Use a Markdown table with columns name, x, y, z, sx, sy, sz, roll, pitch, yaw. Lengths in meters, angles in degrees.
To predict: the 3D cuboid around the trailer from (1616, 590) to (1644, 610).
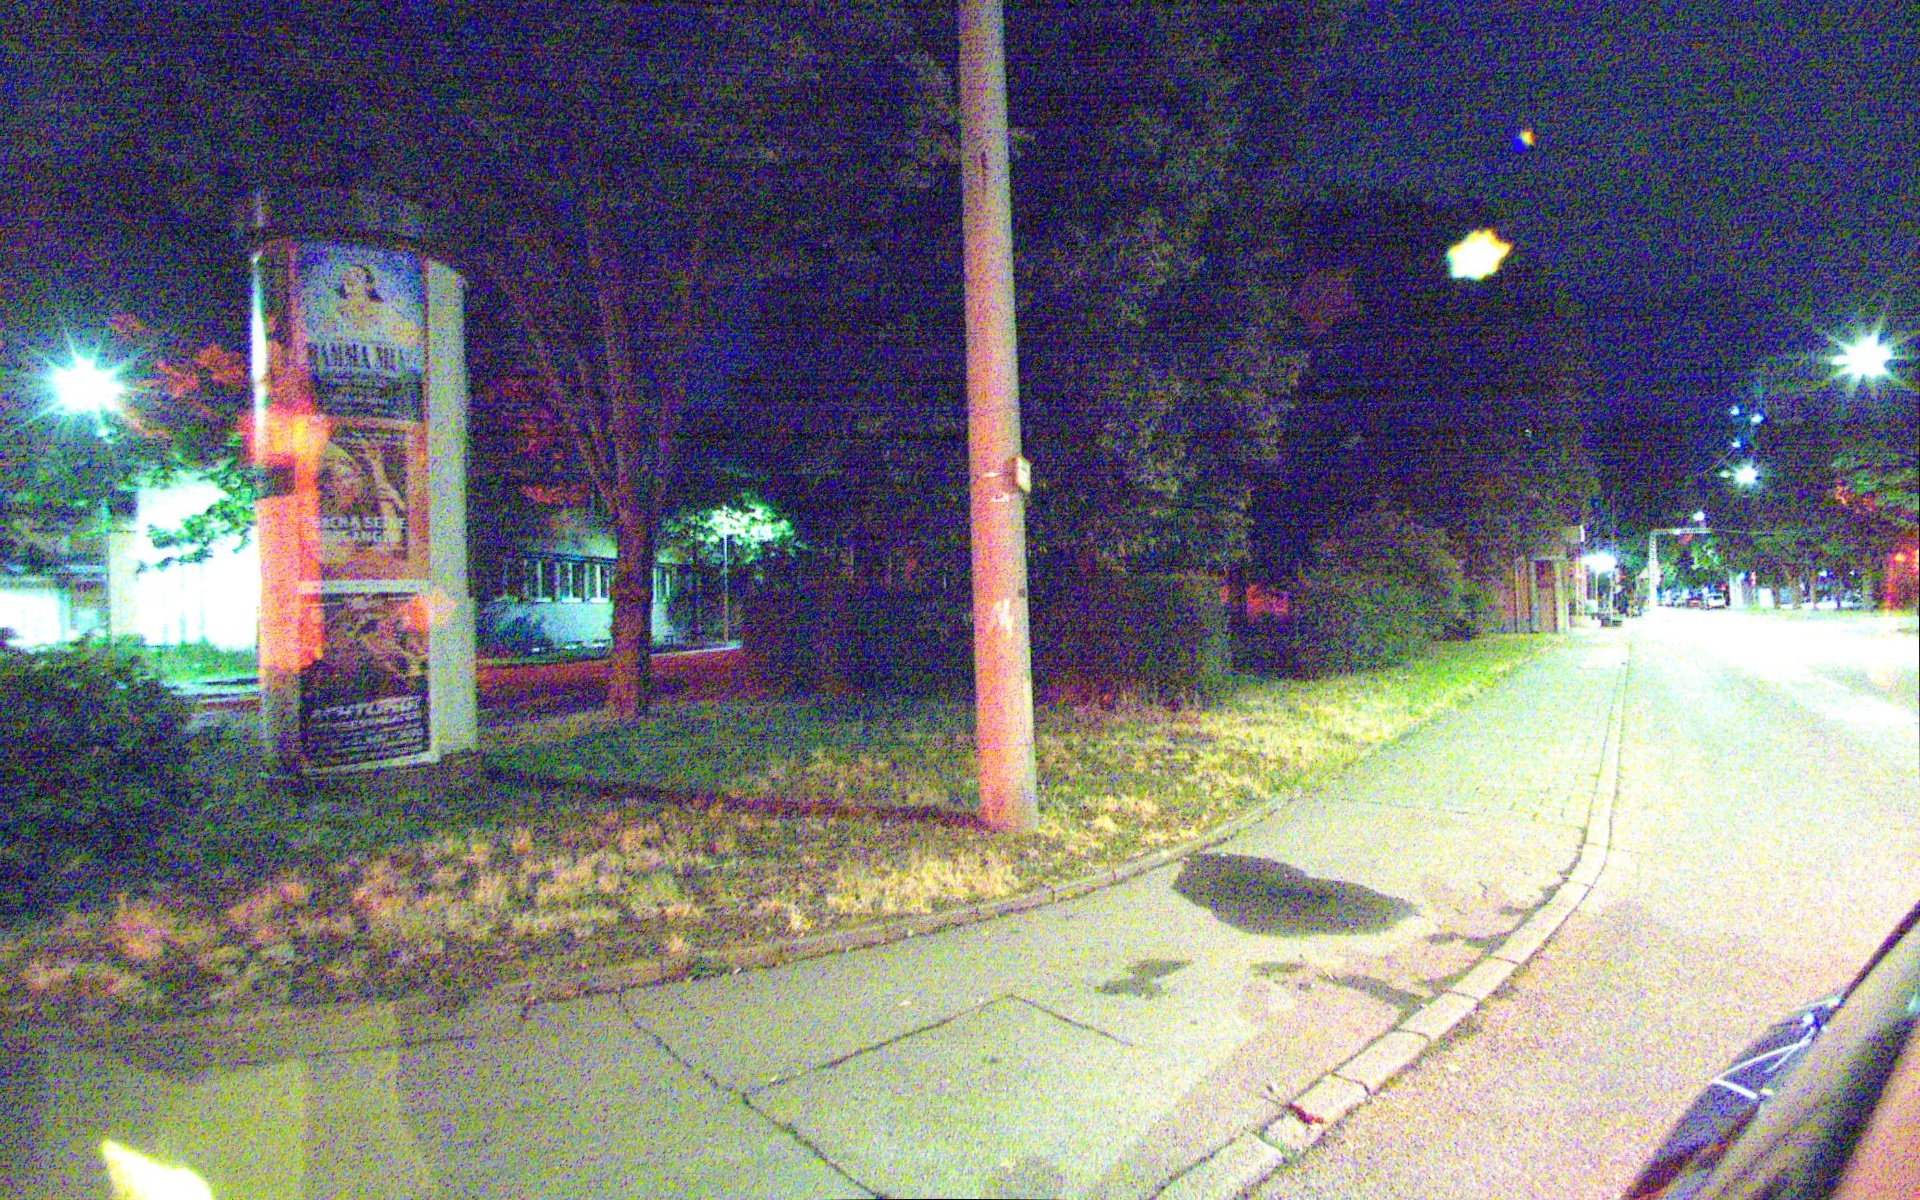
| name | x | y | z | sx | sy | sz | roll | pitch | yaw |
| --- | --- | --- | --- | --- | --- | --- | --- | --- | --- |
| trailer | 54.105 | 0.022 | 81.707 | 1.596 | 1.514 | 3.683 | -3 | -2 | 37 |

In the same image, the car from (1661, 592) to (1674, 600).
| name | x | y | z | sx | sy | sz | roll | pitch | yaw |
| --- | --- | --- | --- | --- | --- | --- | --- | --- | --- |
| car | 141.047 | -0.766 | 201.721 | 1.813 | 1.450 | 3.689 | -5 | -3 | 32 |

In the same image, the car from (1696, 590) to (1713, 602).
| name | x | y | z | sx | sy | sz | roll | pitch | yaw |
| --- | --- | --- | --- | --- | --- | --- | --- | --- | --- |
| car | 103.498 | -0.563 | 140.695 | 1.815 | 1.668 | 3.684 | -1 | 0 | 35 |

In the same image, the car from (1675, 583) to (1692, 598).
| name | x | y | z | sx | sy | sz | roll | pitch | yaw |
| --- | --- | --- | --- | --- | --- | --- | --- | --- | --- |
| car | 127.379 | -1.606 | 178.173 | 1.990 | 2.540 | 4.898 | -5 | -3 | 32 |

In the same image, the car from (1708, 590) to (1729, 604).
| name | x | y | z | sx | sy | sz | roll | pitch | yaw |
| --- | --- | --- | --- | --- | --- | --- | --- | --- | --- |
| car | 91.708 | -0.378 | 122.361 | 1.815 | 1.450 | 3.684 | -5 | -3 | 35 |

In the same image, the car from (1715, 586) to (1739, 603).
| name | x | y | z | sx | sy | sz | roll | pitch | yaw |
| --- | --- | --- | --- | --- | --- | --- | --- | --- | --- |
| car | 88.802 | -0.601 | 117.203 | 1.871 | 1.832 | 3.684 | -5 | -3 | 35 |

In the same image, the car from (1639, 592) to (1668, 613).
| name | x | y | z | sx | sy | sz | roll | pitch | yaw |
| --- | --- | --- | --- | --- | --- | --- | --- | --- | --- |
| car | 50.270 | 0.173 | 73.333 | 1.582 | 1.480 | 3.747 | -3 | -1 | 36 |
